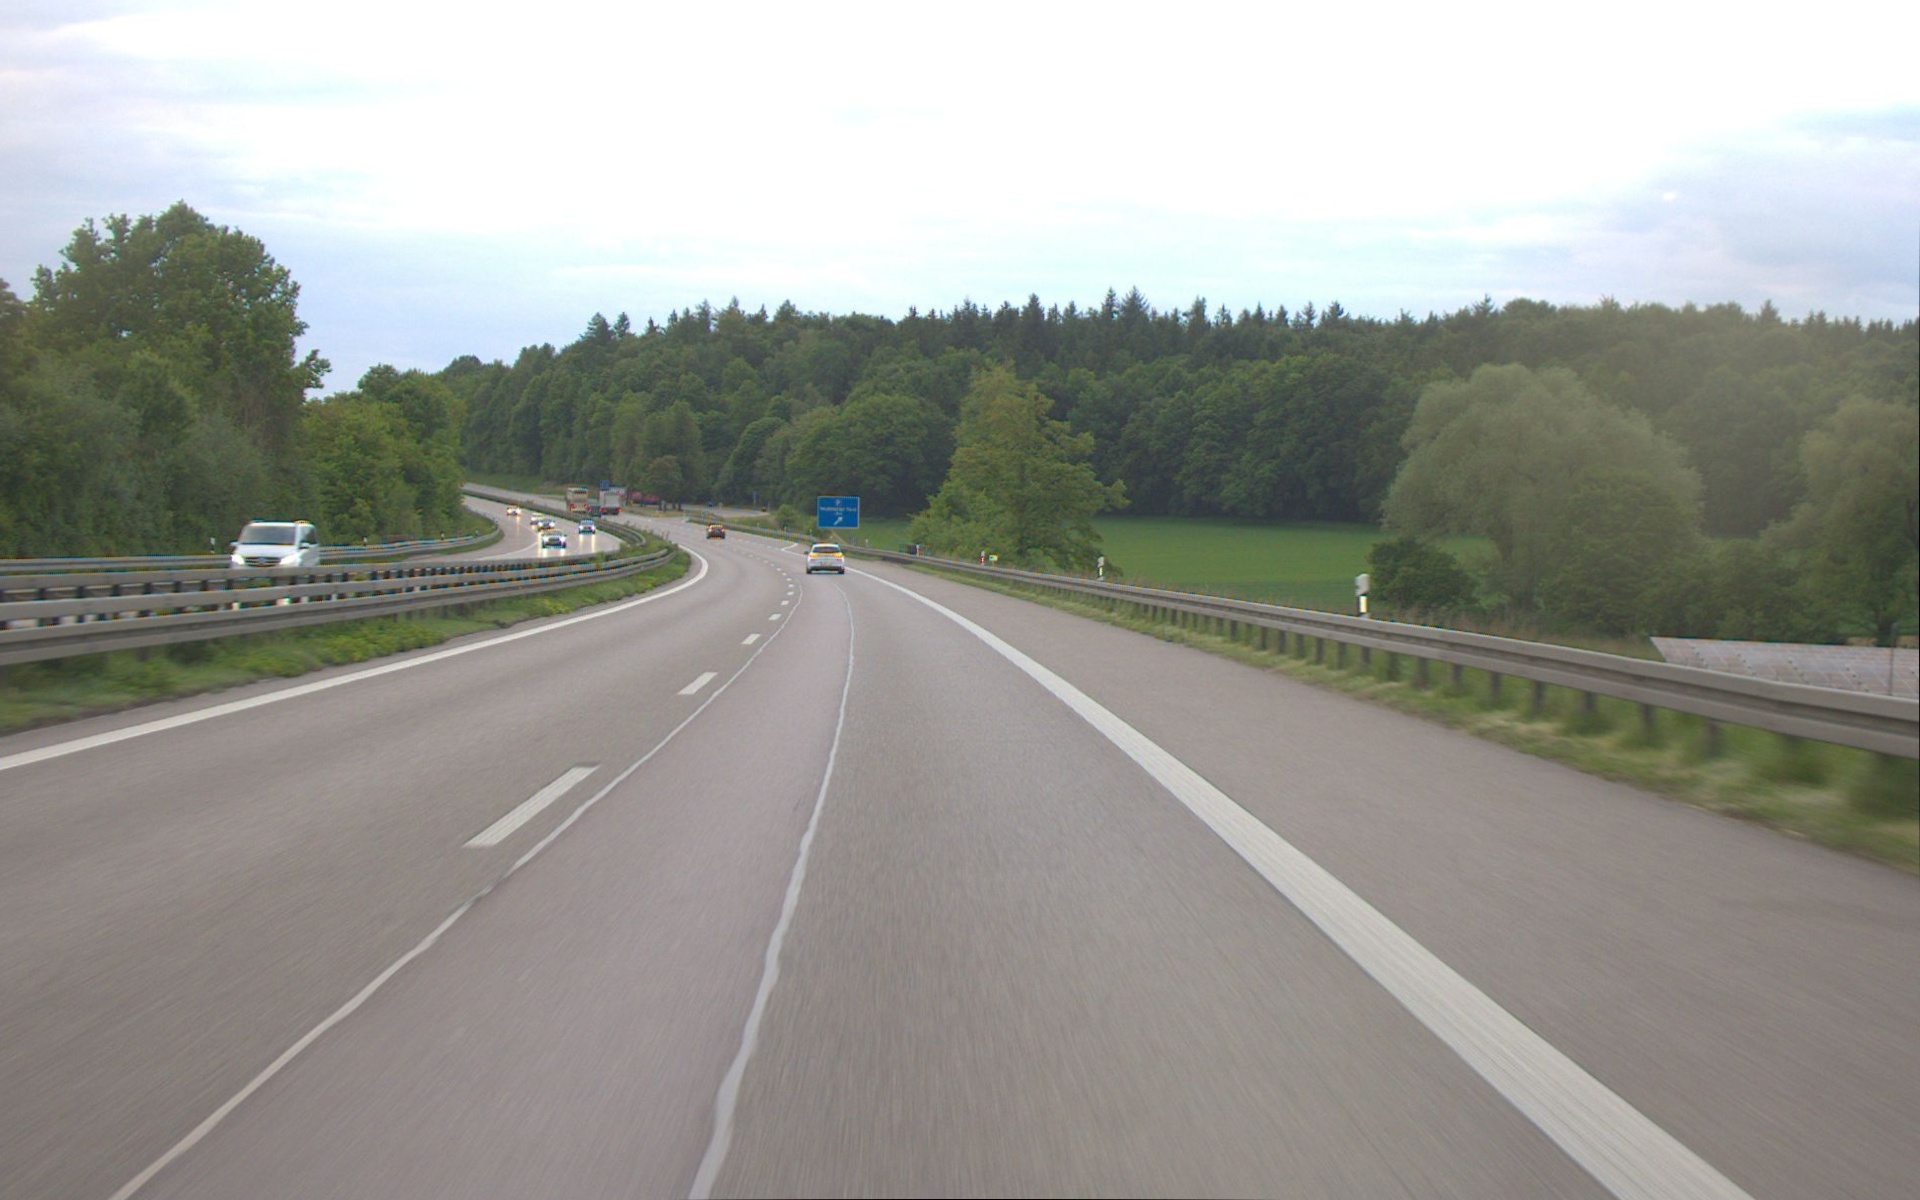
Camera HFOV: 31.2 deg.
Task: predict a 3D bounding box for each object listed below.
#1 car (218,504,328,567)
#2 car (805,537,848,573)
[{"bbox_3d":[-19.716,-1.878,98.959,1.993,1.621,5.736,4,1,-1],"label":"car"},{"bbox_3d":[-6.450,-2.193,166.444,1.951,1.526,4.081,4,1,-2],"label":"car"}]
